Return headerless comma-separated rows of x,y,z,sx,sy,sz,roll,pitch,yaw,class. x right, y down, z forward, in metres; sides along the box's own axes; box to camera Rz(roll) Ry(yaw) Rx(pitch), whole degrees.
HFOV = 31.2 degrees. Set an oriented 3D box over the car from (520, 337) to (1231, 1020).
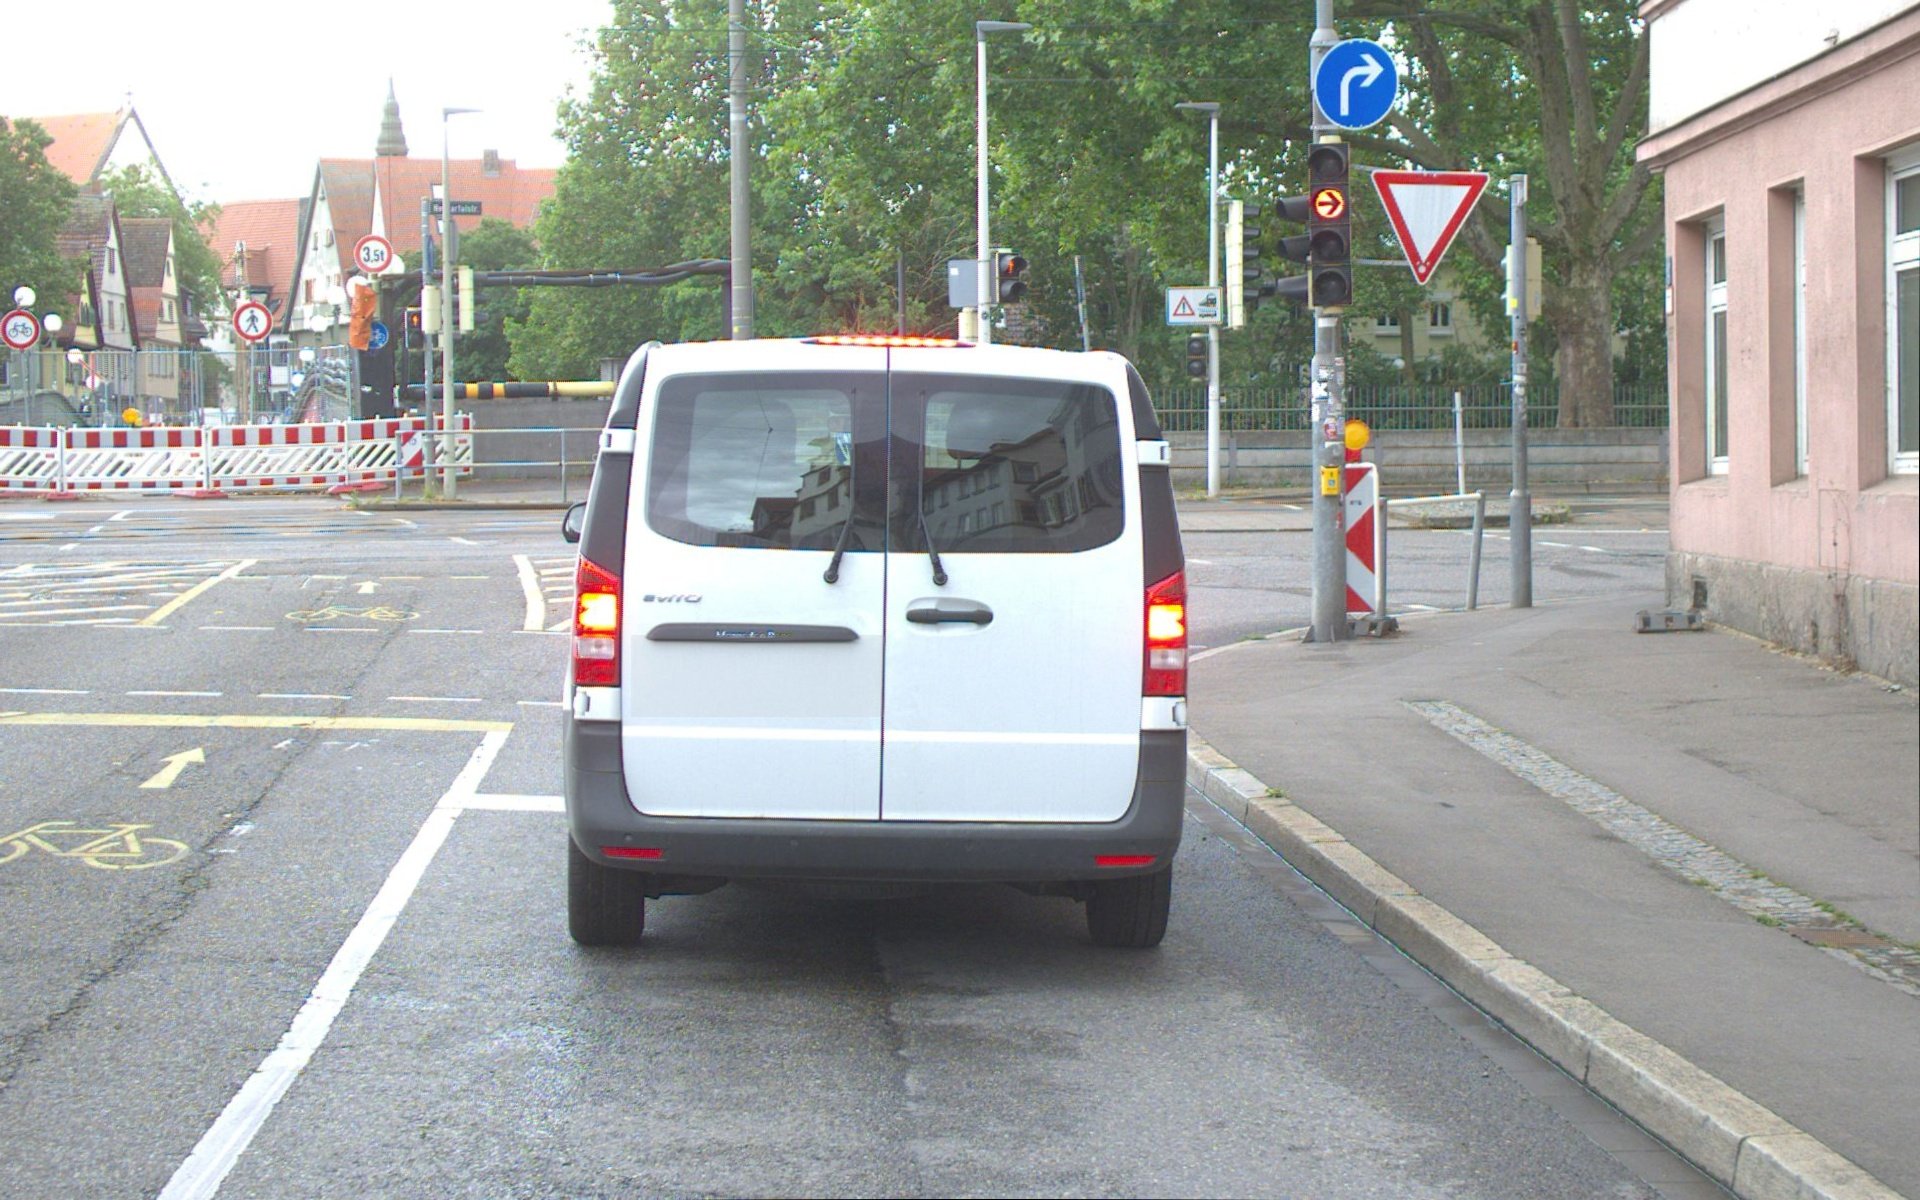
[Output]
-0.424,0.085,11.814,1.993,1.916,4.250,0,4,-5,car
